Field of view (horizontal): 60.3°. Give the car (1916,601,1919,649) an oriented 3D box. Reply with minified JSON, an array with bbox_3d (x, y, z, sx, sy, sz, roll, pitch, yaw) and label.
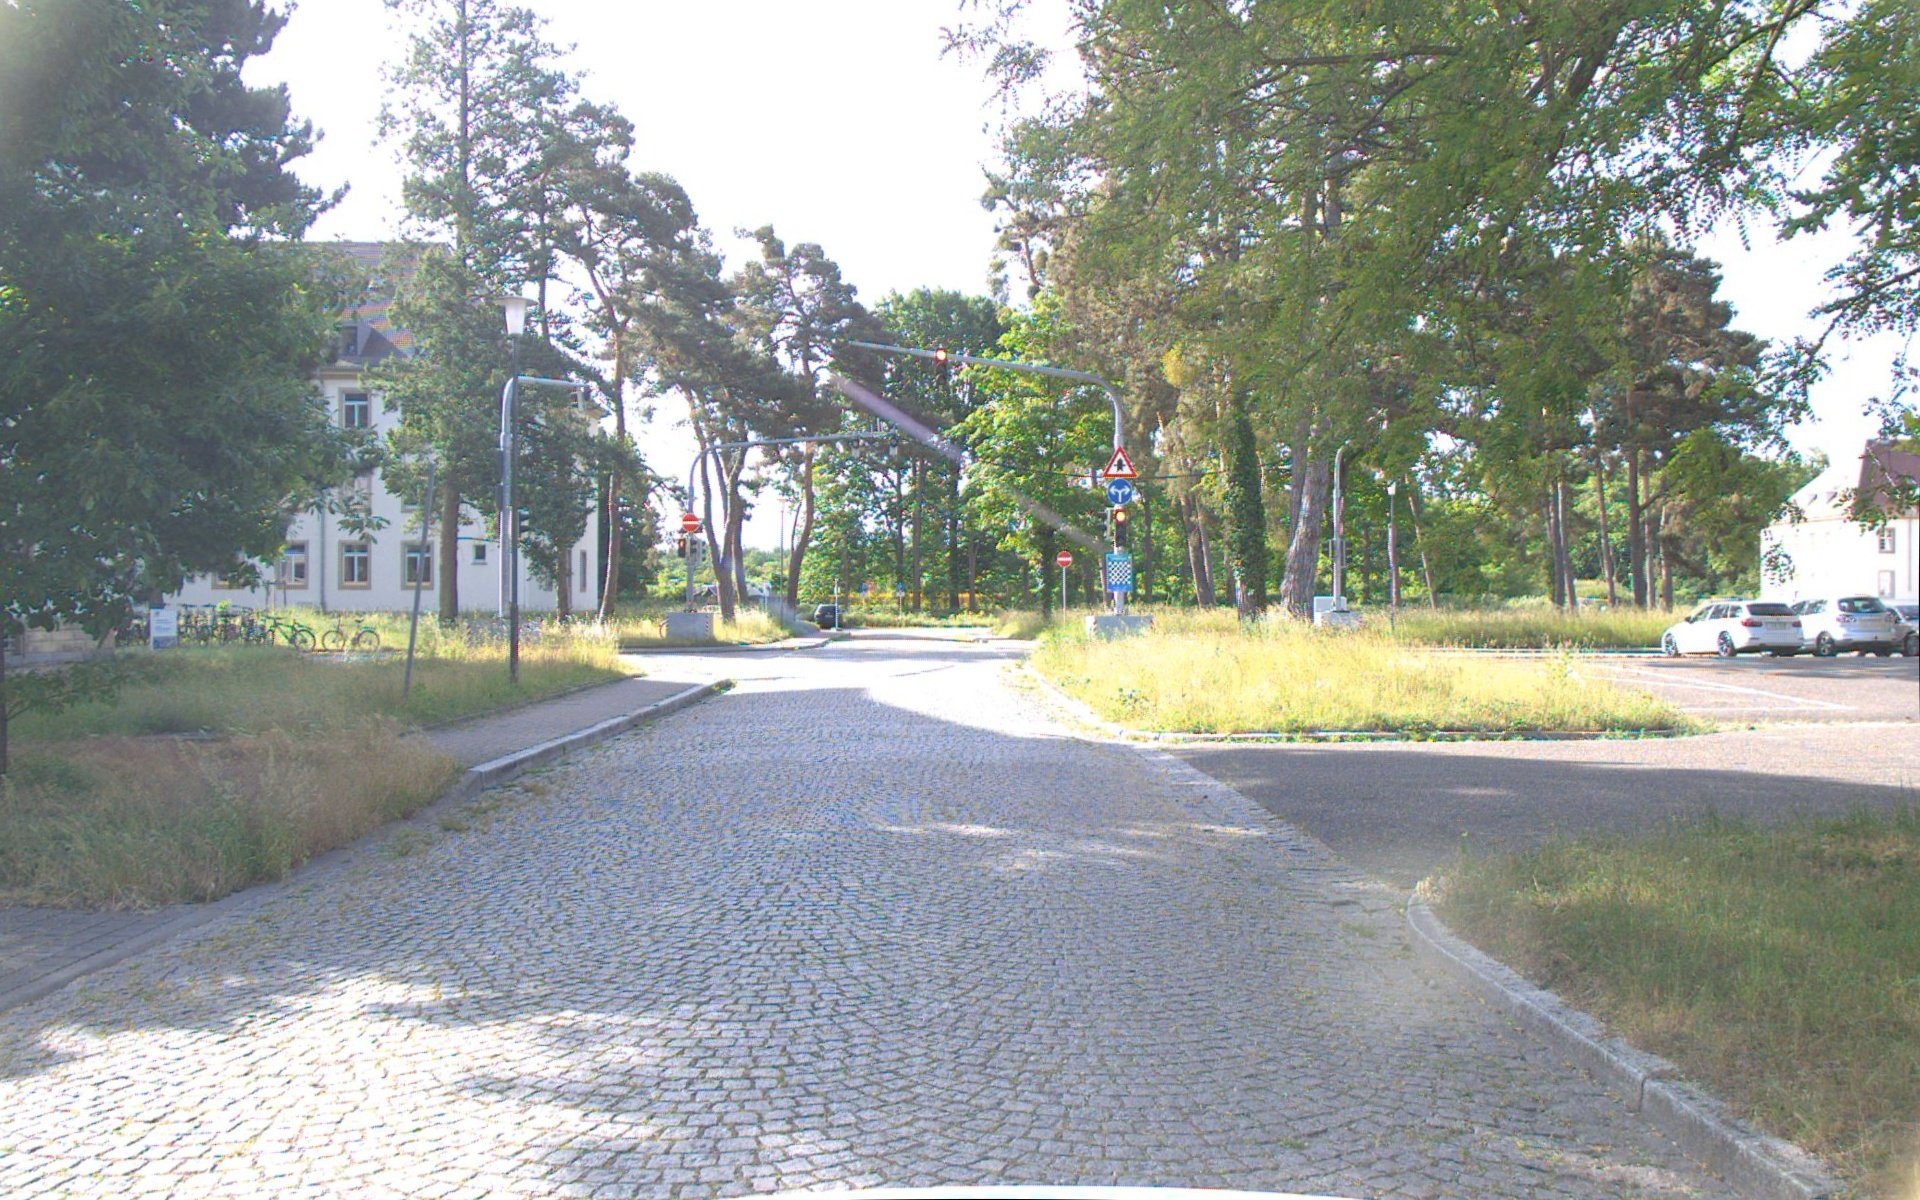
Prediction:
[{"bbox_3d":[27.709,0.672,44.067,1.697,1.335,4.327,-1,0,-5],"label":"car"}]

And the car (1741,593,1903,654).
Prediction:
[{"bbox_3d":[22.475,0.589,43.315,1.697,1.502,4.327,0,0,-5],"label":"car"}]

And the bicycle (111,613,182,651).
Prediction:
[{"bbox_3d":[-24.064,0.925,48.972,0.882,1.065,2.553,0,0,-2],"label":"bicycle"}]

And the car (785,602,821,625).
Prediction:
[{"bbox_3d":[-10.477,0.906,110.479,1.745,1.516,3.757,0,0,5],"label":"car"}]

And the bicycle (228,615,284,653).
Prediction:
[{"bbox_3d":[-20.878,0.993,49.078,0.809,1.065,2.123,0,0,-2],"label":"bicycle"}]

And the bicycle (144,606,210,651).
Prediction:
[{"bbox_3d":[-23.180,0.825,49.001,0.809,1.303,2.553,0,0,-2],"label":"bicycle"}]

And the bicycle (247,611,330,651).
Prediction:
[{"bbox_3d":[-19.419,0.887,47.875,2.076,1.128,0.828,0,0,-5],"label":"bicycle"}]

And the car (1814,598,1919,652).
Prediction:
[{"bbox_3d":[24.718,0.623,43.778,1.697,1.335,4.327,-1,0,-5],"label":"car"}]

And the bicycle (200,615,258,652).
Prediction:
[{"bbox_3d":[-21.644,0.976,49.010,0.809,1.065,2.123,0,0,-2],"label":"bicycle"}]

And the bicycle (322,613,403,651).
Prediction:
[{"bbox_3d":[-17.338,0.929,48.036,2.076,1.065,0.828,0,0,-5],"label":"bicycle"}]

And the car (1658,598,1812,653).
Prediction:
[{"bbox_3d":[20.012,0.625,42.928,1.697,1.335,4.327,0,0,-5],"label":"car"}]

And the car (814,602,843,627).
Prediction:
[{"bbox_3d":[-8.374,0.914,105.793,1.808,1.512,3.997,0,0,-4],"label":"car"}]

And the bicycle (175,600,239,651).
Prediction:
[{"bbox_3d":[-22.429,0.749,49.328,0.809,1.462,2.553,0,0,-2],"label":"bicycle"}]
